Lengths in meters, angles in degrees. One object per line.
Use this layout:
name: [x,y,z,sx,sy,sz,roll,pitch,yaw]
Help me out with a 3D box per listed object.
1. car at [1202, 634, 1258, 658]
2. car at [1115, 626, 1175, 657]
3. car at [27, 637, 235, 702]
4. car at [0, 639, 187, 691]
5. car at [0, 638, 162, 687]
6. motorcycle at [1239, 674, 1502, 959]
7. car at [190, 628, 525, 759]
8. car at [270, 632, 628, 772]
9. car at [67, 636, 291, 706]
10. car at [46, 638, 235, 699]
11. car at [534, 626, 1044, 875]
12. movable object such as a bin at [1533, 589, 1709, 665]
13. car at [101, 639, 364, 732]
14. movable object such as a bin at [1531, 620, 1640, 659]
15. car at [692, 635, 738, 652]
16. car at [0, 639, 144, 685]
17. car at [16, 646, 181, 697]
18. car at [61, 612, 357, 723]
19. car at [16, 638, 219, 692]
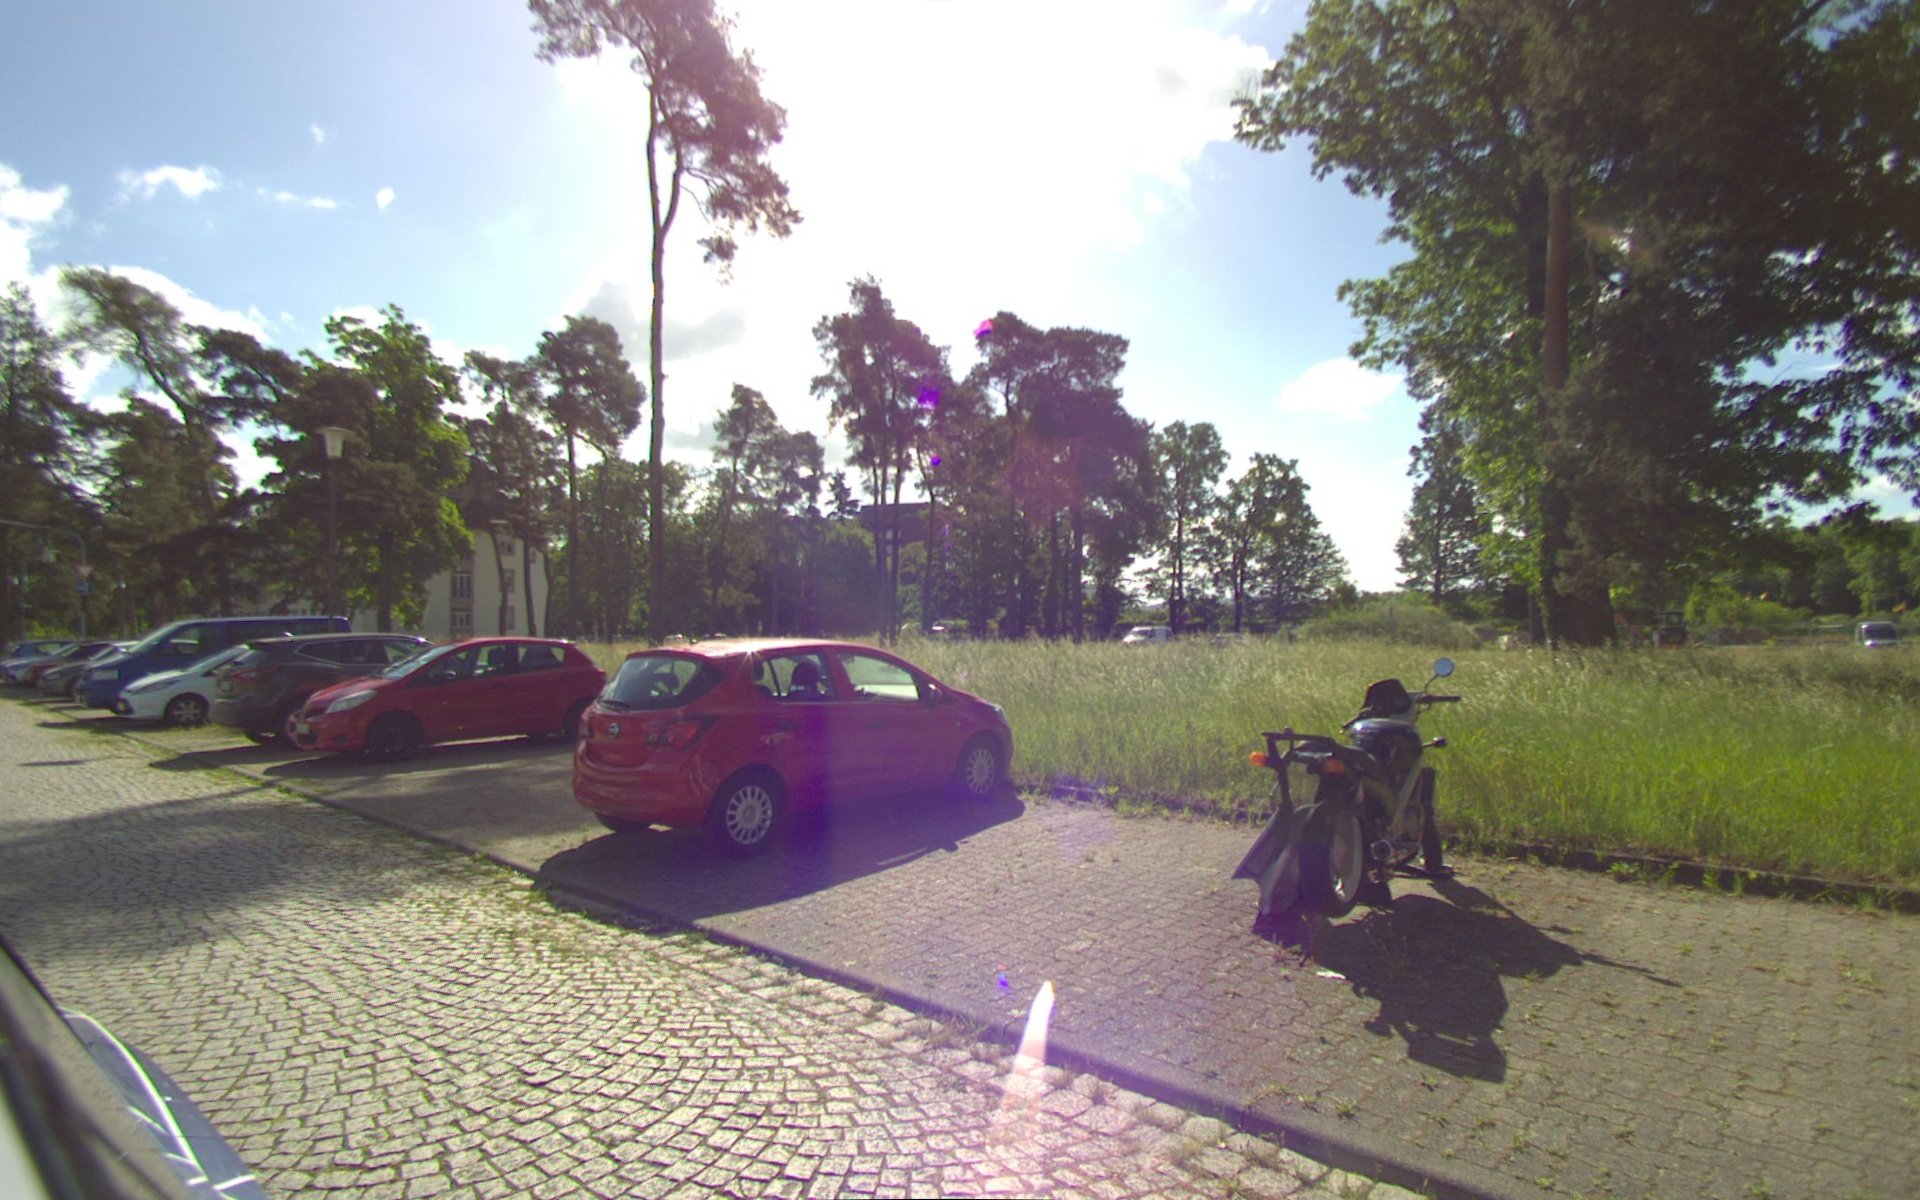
car: [18.330,3.104,68.535,1.912,1.617,4.182,-2,-3,43]
car: [13.359,2.971,72.786,1.957,2.180,4.792,-2,-3,43]
car: [-21.703,1.762,26.584,1.923,1.436,4.032,-2,-2,43]
car: [-28.963,2.103,33.771,1.938,1.431,4.812,-1,-1,42]
car: [-31.062,2.147,35.502,1.982,1.463,4.536,-1,-1,38]
motorcycle: [2.349,1.053,5.596,0.577,1.170,2.217,-2,-2,43]
car: [-8.923,1.285,15.217,1.972,1.580,3.913,-3,-2,40]
car: [-6.714,1.237,13.591,1.865,1.460,3.883,-3,-1,40]
car: [-19.220,1.686,25.039,1.823,1.486,4.151,-2,-2,42]
car: [-23.408,1.897,29.002,1.822,1.463,4.032,-1,-1,43]
car: [-1.197,1.001,8.375,1.841,1.472,3.883,-3,-2,40]
movable object such as a bin: [34.127,1.423,52.629,6.736,3.760,3.907,-1,-2,18]
car: [-13.761,1.544,19.300,1.681,1.451,3.778,-2,-1,39]
movable object such as a bin: [35.761,2.271,58.086,2.491,2.142,5.682,0,-2,-2]
car: [-24.020,4.251,99.261,1.841,1.642,4.001,-2,-3,44]
car: [-32.888,2.255,37.385,1.947,1.494,3.985,-3,-2,40]
car: [-25.779,2.099,30.348,1.760,1.243,3.591,-1,-1,43]
car: [-15.556,1.295,21.175,2.005,1.983,4.667,-2,-1,42]
car: [-26.947,2.021,32.512,1.938,1.431,4.812,-2,-1,42]
